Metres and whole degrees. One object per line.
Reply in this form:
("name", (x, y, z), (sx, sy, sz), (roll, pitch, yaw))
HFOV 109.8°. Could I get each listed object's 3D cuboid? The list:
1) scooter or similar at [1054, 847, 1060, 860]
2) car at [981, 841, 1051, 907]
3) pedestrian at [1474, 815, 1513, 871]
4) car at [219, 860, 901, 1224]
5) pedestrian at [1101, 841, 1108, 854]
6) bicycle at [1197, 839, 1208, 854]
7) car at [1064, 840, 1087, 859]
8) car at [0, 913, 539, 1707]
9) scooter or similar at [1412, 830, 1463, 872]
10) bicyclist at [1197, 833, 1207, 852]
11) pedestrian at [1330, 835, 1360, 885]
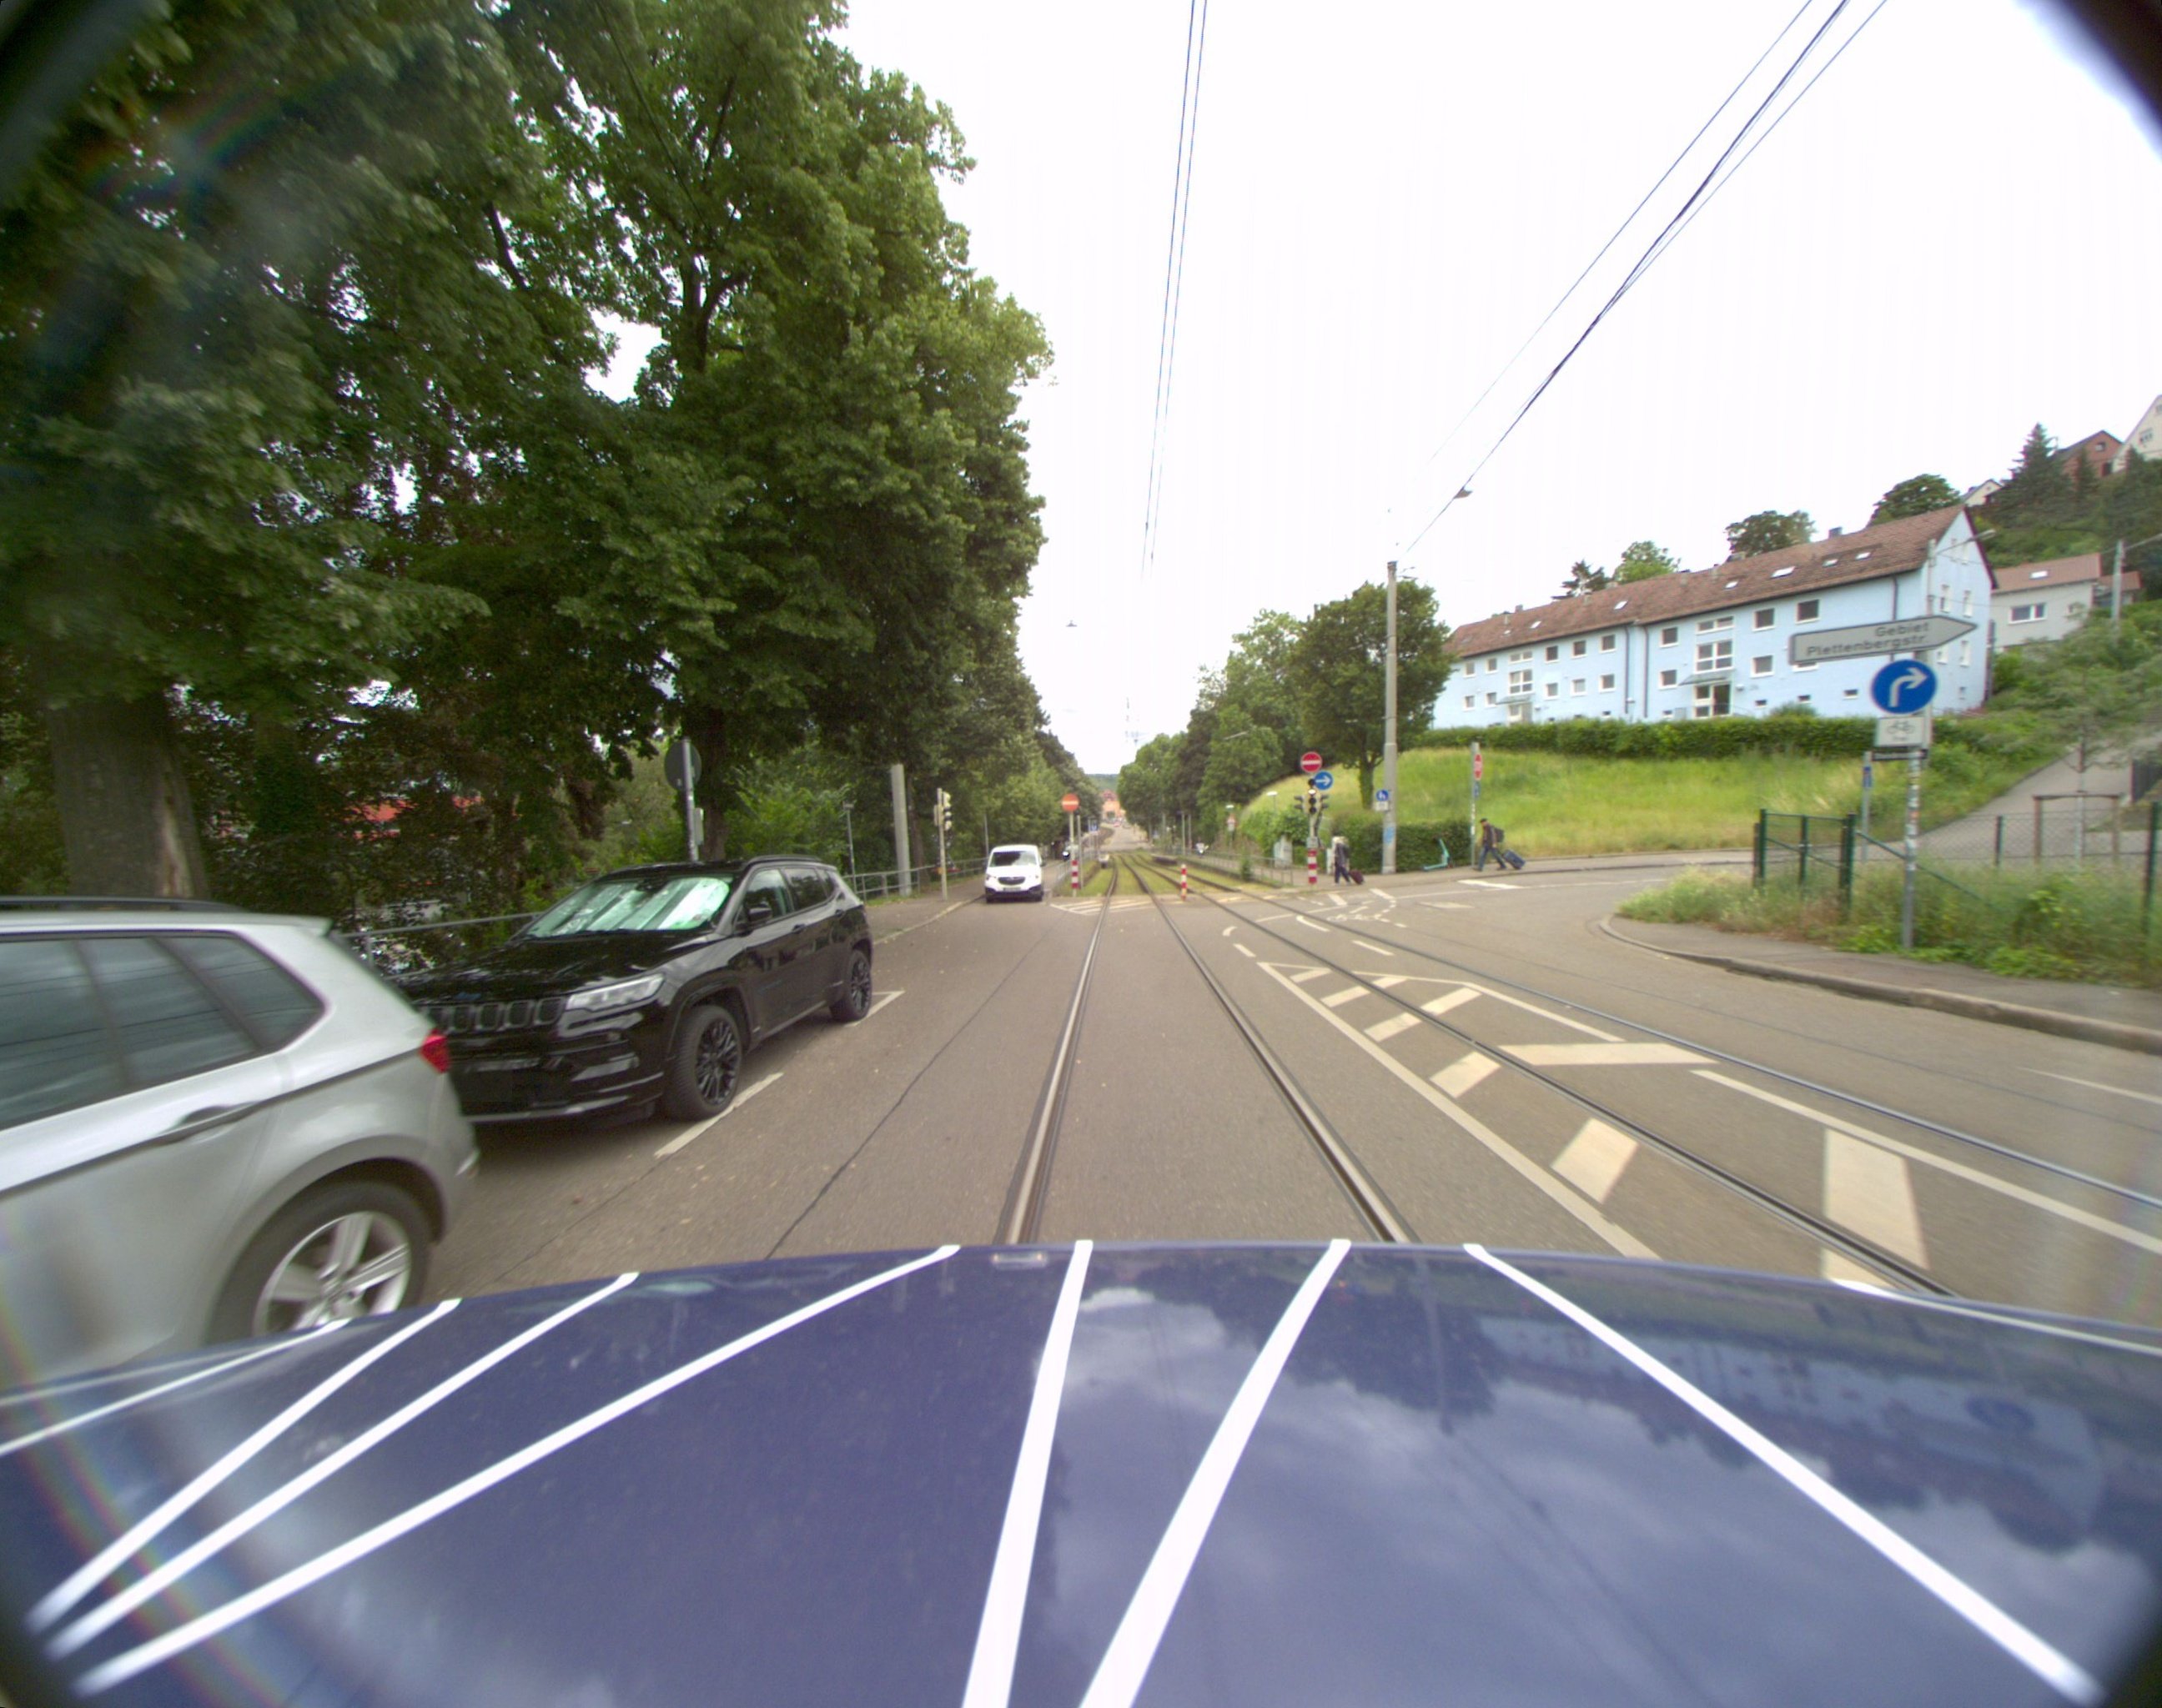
("scooter or similar", (-2.600, -0.056, 83.035), (0.431, 1.377, 1.455), (-2, 2, 2))
("car", (-2.076, 0.569, 25.417), (1.810, 1.910, 4.477), (-3, 2, 1))
("pedestrian", (13.126, -0.360, 24.206), (0.900, 1.741, 0.743), (-2, 2, 16))
("car", (-3.112, 0.960, 6.011), (1.908, 1.606, 4.600), (-3, 1, 4))
("pedestrian", (2.723, -0.761, 88.787), (0.739, 1.493, 0.627), (-3, 0, 4))
("bicycle", (10.434, -0.664, 65.335), (0.752, 1.233, 2.868), (-3, 0, 6))
("car", (-0.463, -0.421, 70.638), (1.998, 1.543, 3.999), (-2, 2, 1))
("car", (-3.206, 1.095, 0.927), (1.738, 1.566, 4.364), (-2, 1, 3))
("scooter or similar", (12.022, -0.098, 25.661), (1.412, 1.282, 0.418), (-6, 2, 3))
("bicyclist", (10.449, -1.017, 65.758), (0.706, 1.619, 1.033), (-3, 0, 6))
("pedestrian", (8.520, 0.178, 24.557), (0.752, 1.565, 0.757), (-2, 2, 10))
